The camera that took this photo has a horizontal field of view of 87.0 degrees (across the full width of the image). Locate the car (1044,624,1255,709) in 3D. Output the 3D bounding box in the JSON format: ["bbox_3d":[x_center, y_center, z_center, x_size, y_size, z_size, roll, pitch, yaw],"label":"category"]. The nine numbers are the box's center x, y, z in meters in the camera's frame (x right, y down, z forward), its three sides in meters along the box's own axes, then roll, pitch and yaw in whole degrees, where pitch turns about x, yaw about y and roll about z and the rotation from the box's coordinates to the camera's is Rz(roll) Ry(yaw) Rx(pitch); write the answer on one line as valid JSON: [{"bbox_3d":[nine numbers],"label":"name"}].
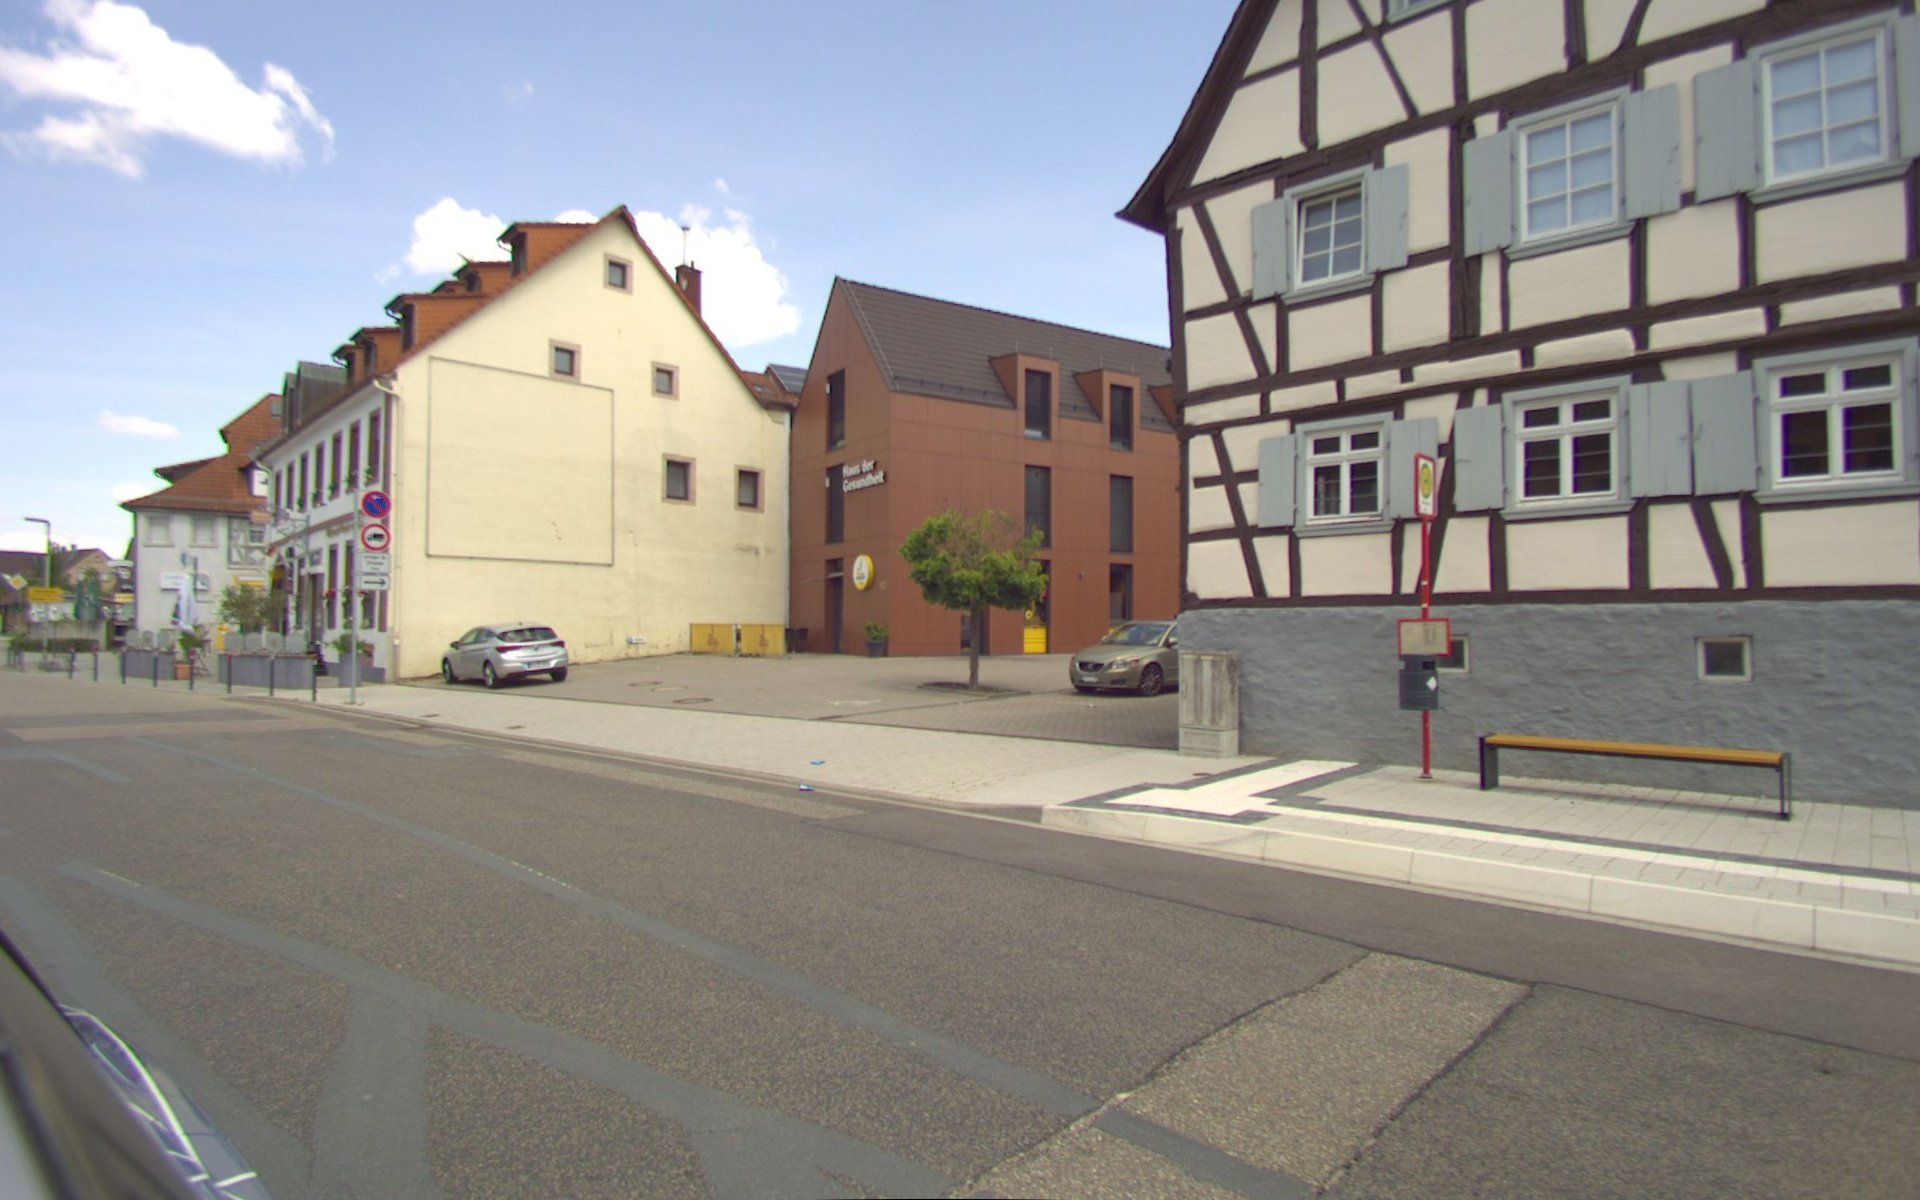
[{"bbox_3d":[3.911,1.249,20.441,4.373,1.399,1.966,-1,0,-43],"label":"car"}]

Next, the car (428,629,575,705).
[{"bbox_3d":[-11.186,1.550,24.567,4.277,1.503,1.739,-1,3,44],"label":"car"}]

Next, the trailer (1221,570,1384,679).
[{"bbox_3d":[8.479,0.528,24.854,4.374,2.444,1.966,-1,0,-43],"label":"trailer"}]
